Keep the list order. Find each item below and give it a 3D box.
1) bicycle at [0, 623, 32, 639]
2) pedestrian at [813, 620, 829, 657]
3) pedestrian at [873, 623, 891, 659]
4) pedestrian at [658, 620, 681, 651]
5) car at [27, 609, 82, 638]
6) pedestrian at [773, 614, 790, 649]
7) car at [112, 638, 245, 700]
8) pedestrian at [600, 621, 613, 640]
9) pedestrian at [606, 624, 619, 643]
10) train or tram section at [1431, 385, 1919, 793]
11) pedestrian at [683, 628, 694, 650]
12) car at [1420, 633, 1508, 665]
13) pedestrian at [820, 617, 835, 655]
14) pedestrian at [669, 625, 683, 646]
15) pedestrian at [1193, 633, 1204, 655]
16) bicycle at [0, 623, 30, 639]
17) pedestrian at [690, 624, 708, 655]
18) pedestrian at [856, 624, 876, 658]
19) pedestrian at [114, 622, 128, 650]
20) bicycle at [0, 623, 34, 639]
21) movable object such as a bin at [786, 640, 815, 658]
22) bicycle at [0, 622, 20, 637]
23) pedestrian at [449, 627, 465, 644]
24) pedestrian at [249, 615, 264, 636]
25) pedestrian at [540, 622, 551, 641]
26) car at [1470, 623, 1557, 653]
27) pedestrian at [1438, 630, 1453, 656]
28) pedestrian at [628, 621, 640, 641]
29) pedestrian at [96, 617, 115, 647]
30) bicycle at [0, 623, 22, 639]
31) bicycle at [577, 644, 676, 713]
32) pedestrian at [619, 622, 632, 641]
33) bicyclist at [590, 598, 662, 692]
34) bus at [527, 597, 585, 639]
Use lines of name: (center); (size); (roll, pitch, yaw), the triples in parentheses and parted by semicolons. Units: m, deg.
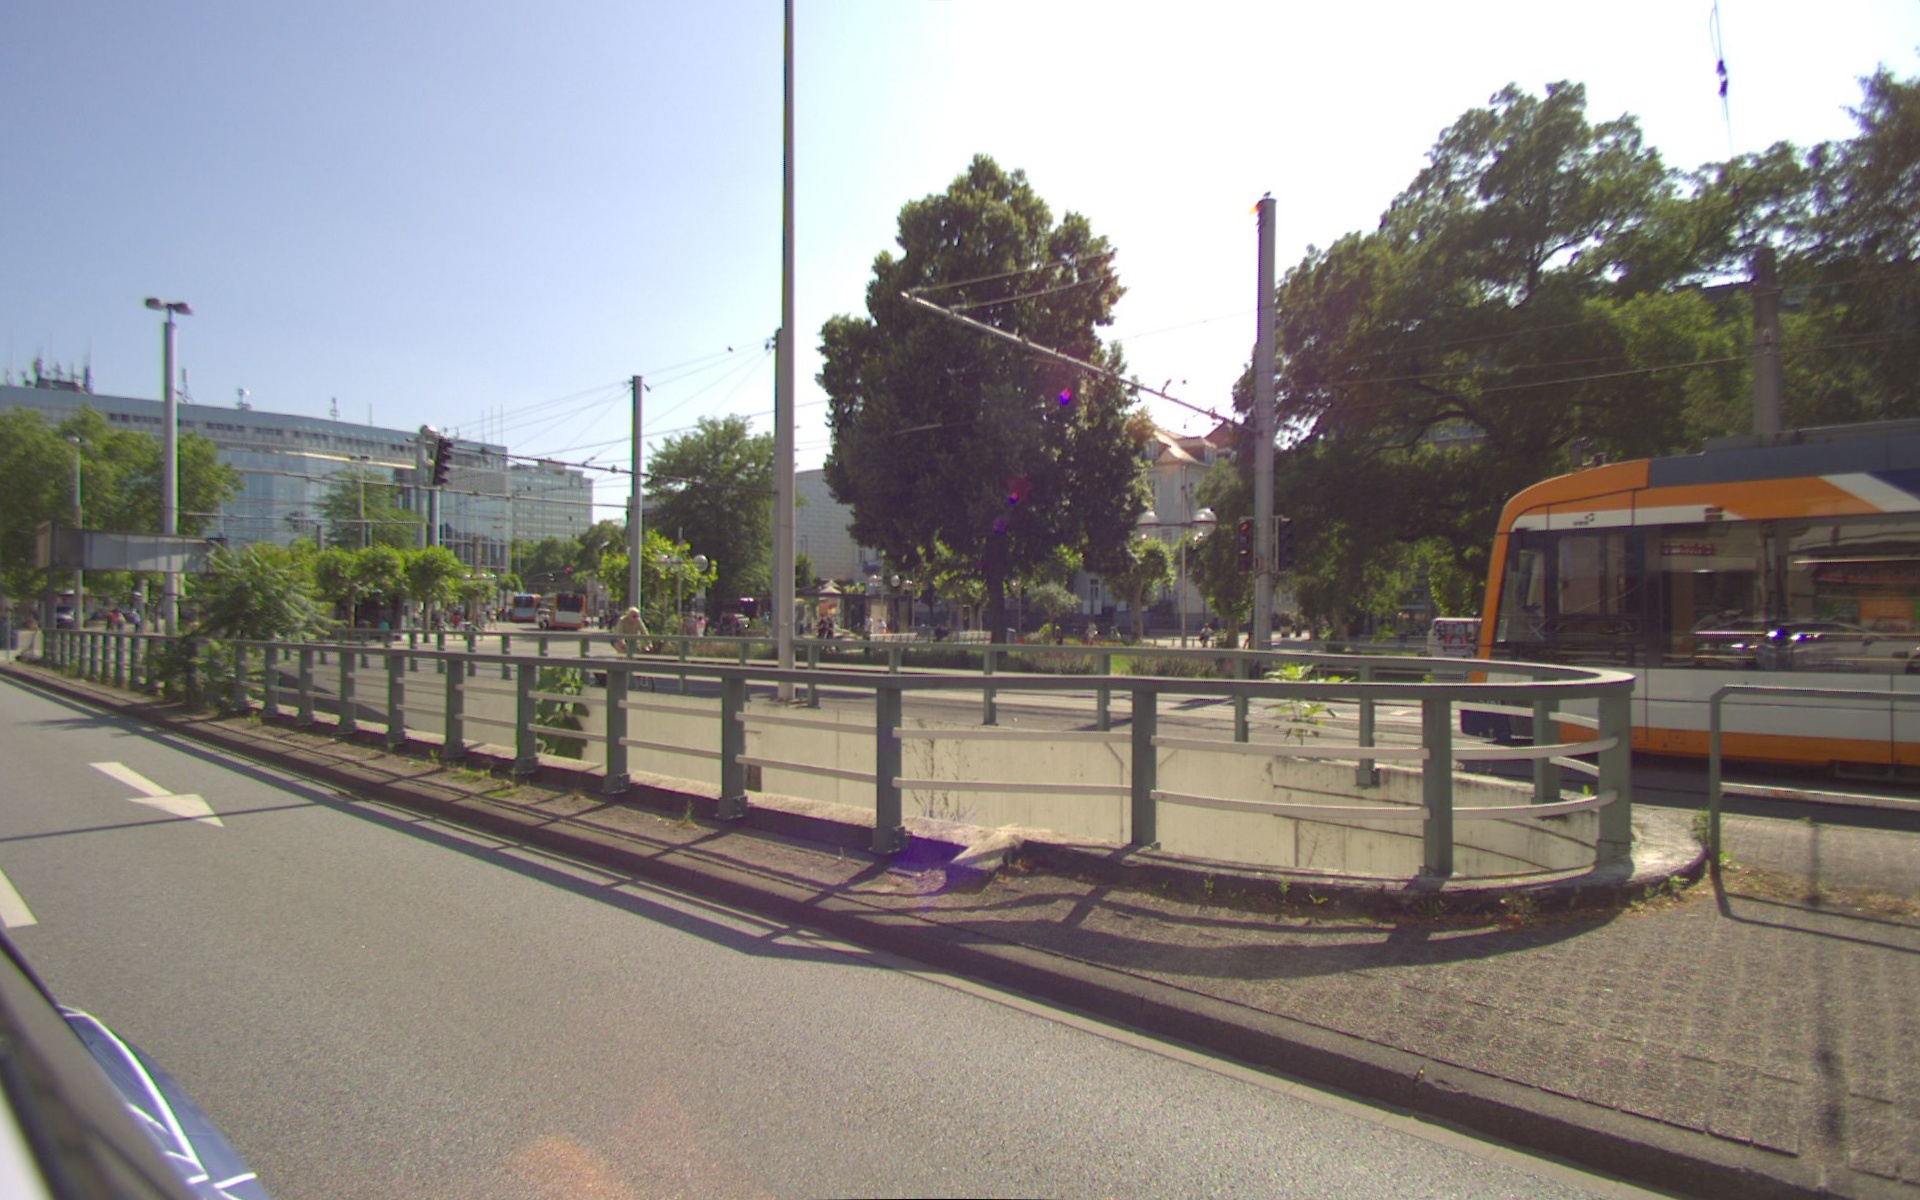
bicycle: (-68.858, 2.251, 73.768); (0.482, 1.156, 1.735); (-1, -1, 39)
pedestrian: (-6.051, 1.675, 43.941); (0.465, 1.621, 0.447); (-2, -5, 41)
pedestrian: (-3.553, 1.888, 46.265); (0.619, 1.621, 0.488); (-1, -4, 35)
pedestrian: (-17.621, 2.172, 61.407); (0.953, 1.807, 1.082); (4, -4, -39)
car: (-70.045, 1.797, 78.374); (1.965, 2.029, 5.083); (-1, 1, -27)
pedestrian: (-10.653, 1.891, 60.437); (0.621, 2.023, 0.736); (4, -4, -43)
car: (-19.938, 1.736, 25.771); (3.995, 1.415, 1.678); (-1, -5, 39)
pedestrian: (-27.728, 2.382, 79.410); (0.680, 1.477, 0.617); (-2, -4, 38)
pedestrian: (-27.035, 2.582, 78.728); (0.679, 1.477, 0.617); (-1, -4, 36)
train or tram section: (8.564, -0.111, 10.589); (6.101, 3.608, 2.586); (-1, 1, 41)
pedestrian: (-16.038, 2.312, 59.818); (0.479, 1.273, 0.400); (0, -4, 23)
car: (26.912, 2.575, 54.032); (3.992, 1.519, 1.740); (-1, 1, 36)
pedestrian: (-5.694, 1.559, 43.485); (0.494, 1.621, 0.409); (-2, -4, 40)
pedestrian: (-17.520, 2.191, 62.469); (0.613, 1.273, 0.583); (4, -4, -39)
pedestrian: (13.749, 2.552, 58.318); (0.525, 1.273, 0.574); (0, -4, 20)
bicycle: (-69.572, 2.271, 74.329); (0.482, 1.156, 1.842); (-1, -1, 39)
pedestrian: (-14.887, 2.262, 57.820); (0.705, 1.719, 0.669); (-1, -4, 40)
pedestrian: (-4.211, 1.840, 45.251); (0.661, 1.504, 0.519); (-2, -4, 39)
pedestrian: (-49.529, 2.142, 59.746); (0.518, 1.621, 0.627); (4, -4, -39)
bicycle: (-68.461, 2.262, 73.460); (0.482, 1.156, 1.735); (-1, -1, 39)
movable object such as a bin: (-6.883, 2.118, 43.654); (0.800, 0.760, 0.897); (-2, -4, 42)
bicycle: (-72.365, 2.244, 76.590); (0.482, 1.156, 1.735); (-1, -1, 39)
pedestrian: (-29.517, 2.082, 59.390); (0.580, 1.008, 0.627); (-2, -5, 44)
pedestrian: (-51.089, 1.836, 73.485); (0.549, 1.477, 0.621); (0, -4, 19)
pedestrian: (-33.120, 2.540, 80.803); (0.585, 1.477, 0.522); (0, -4, 22)
car: (30.129, 2.056, 55.127); (3.992, 1.519, 1.740); (-1, 1, 36)
pedestrian: (24.631, 2.187, 51.321); (0.657, 1.273, 0.745); (-1, -4, 29)
pedestrian: (-24.820, 2.346, 76.994); (0.616, 1.477, 0.681); (4, -5, -44)
pedestrian: (-49.986, 1.854, 59.226); (0.581, 1.747, 0.524); (0, -3, 12)
bicycle: (-70.969, 2.287, 75.258); (0.482, 1.156, 1.735); (-1, -1, 39)
bicycle: (-5.992, 1.380, 18.131); (1.874, 1.129, 0.809); (-1, -4, 42)
pedestrian: (-25.905, 2.438, 78.459); (0.679, 1.477, 0.617); (-1, -4, 36)
bicyclist: (-6.016, 0.819, 18.230); (0.902, 1.634, 0.809); (-2, -6, 41)
bus: (-35.720, 1.464, 89.189); (3.014, 3.445, 12.499); (-1, 1, -30)
